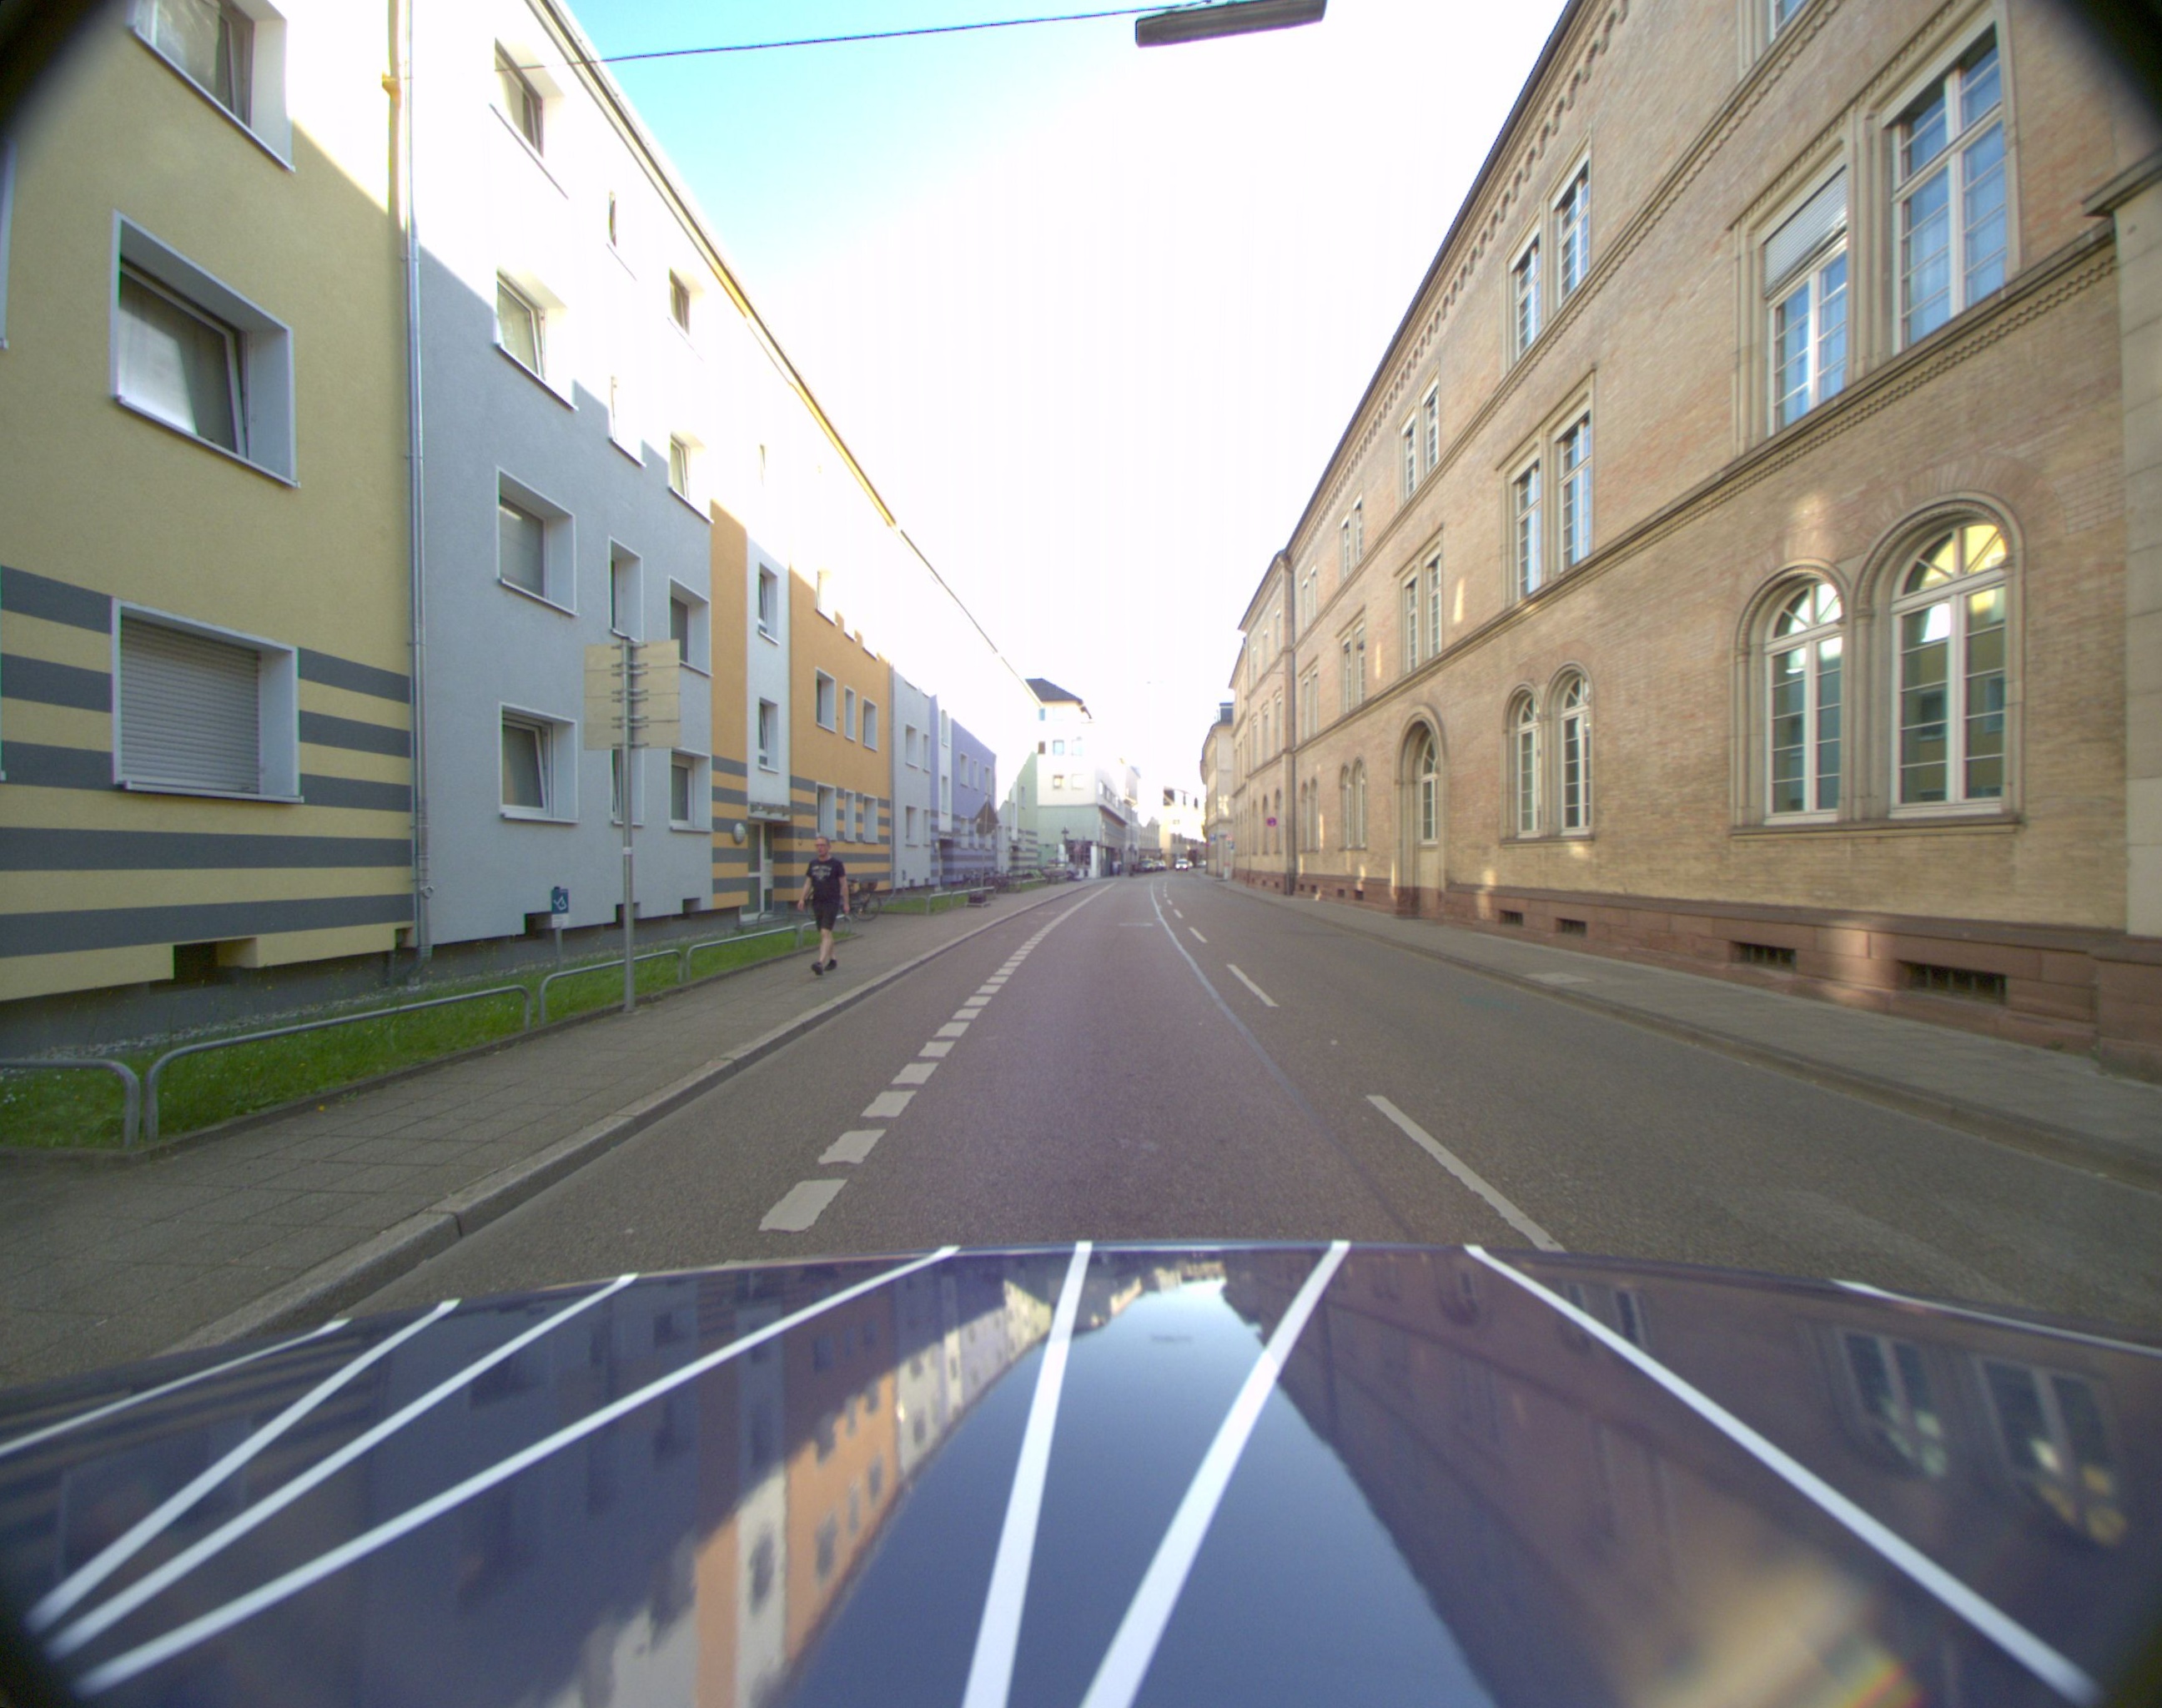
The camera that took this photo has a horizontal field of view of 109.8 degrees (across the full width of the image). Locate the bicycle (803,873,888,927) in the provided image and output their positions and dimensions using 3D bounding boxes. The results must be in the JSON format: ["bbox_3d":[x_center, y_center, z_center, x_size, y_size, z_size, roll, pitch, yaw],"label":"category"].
[{"bbox_3d":[-5.289,1.030,17.104,1.711,1.152,0.636,1,0,-2],"label":"bicycle"}]

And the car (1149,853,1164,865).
[{"bbox_3d":[11.318,0.705,113.940,1.861,1.714,3.742,0,0,12],"label":"car"}]

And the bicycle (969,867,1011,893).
[{"bbox_3d":[-3.949,1.113,33.000,1.710,1.075,0.636,1,0,1],"label":"bicycle"}]

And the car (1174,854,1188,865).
[{"bbox_3d":[15.385,0.790,116.767,1.921,1.712,4.965,0,0,11],"label":"car"}]

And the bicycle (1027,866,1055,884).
[{"bbox_3d":[-2.421,1.261,46.120,1.711,1.097,0.584,1,0,-2],"label":"bicycle"}]

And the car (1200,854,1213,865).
[{"bbox_3d":[19.853,0.820,120.357,1.662,1.714,3.743,0,0,14],"label":"car"}]

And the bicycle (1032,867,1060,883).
[{"bbox_3d":[-2.173,1.313,47.580,1.711,0.972,0.516,1,0,-2],"label":"bicycle"}]

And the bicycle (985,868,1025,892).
[{"bbox_3d":[-3.390,1.163,33.761,1.711,1.029,0.636,1,0,-2],"label":"bicycle"}]

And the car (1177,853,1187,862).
[{"bbox_3d":[19.906,0.639,149.581,1.534,1.714,3.743,0,0,16],"label":"car"}]

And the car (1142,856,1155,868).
[{"bbox_3d":[9.465,1.104,106.047,1.535,1.714,3.741,0,0,8],"label":"car"}]

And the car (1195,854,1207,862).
[{"bbox_3d":[25.809,0.829,163.549,1.925,1.714,4.236,0,0,19],"label":"car"}]

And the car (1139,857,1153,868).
[{"bbox_3d":[8.638,1.125,100.771,1.634,1.405,3.687,0,0,8],"label":"car"}]

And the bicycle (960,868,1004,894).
[{"bbox_3d":[-4.151,1.137,31.857,1.710,1.039,0.636,1,0,2],"label":"bicycle"}]

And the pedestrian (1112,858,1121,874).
[{"bbox_3d":[3.316,1.095,70.679,0.707,1.510,0.662,-1,0,12],"label":"pedestrian"}]

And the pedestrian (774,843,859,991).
[{"bbox_3d":[-3.355,0.766,9.700,0.646,1.778,0.916,3,1,4],"label":"pedestrian"}]
